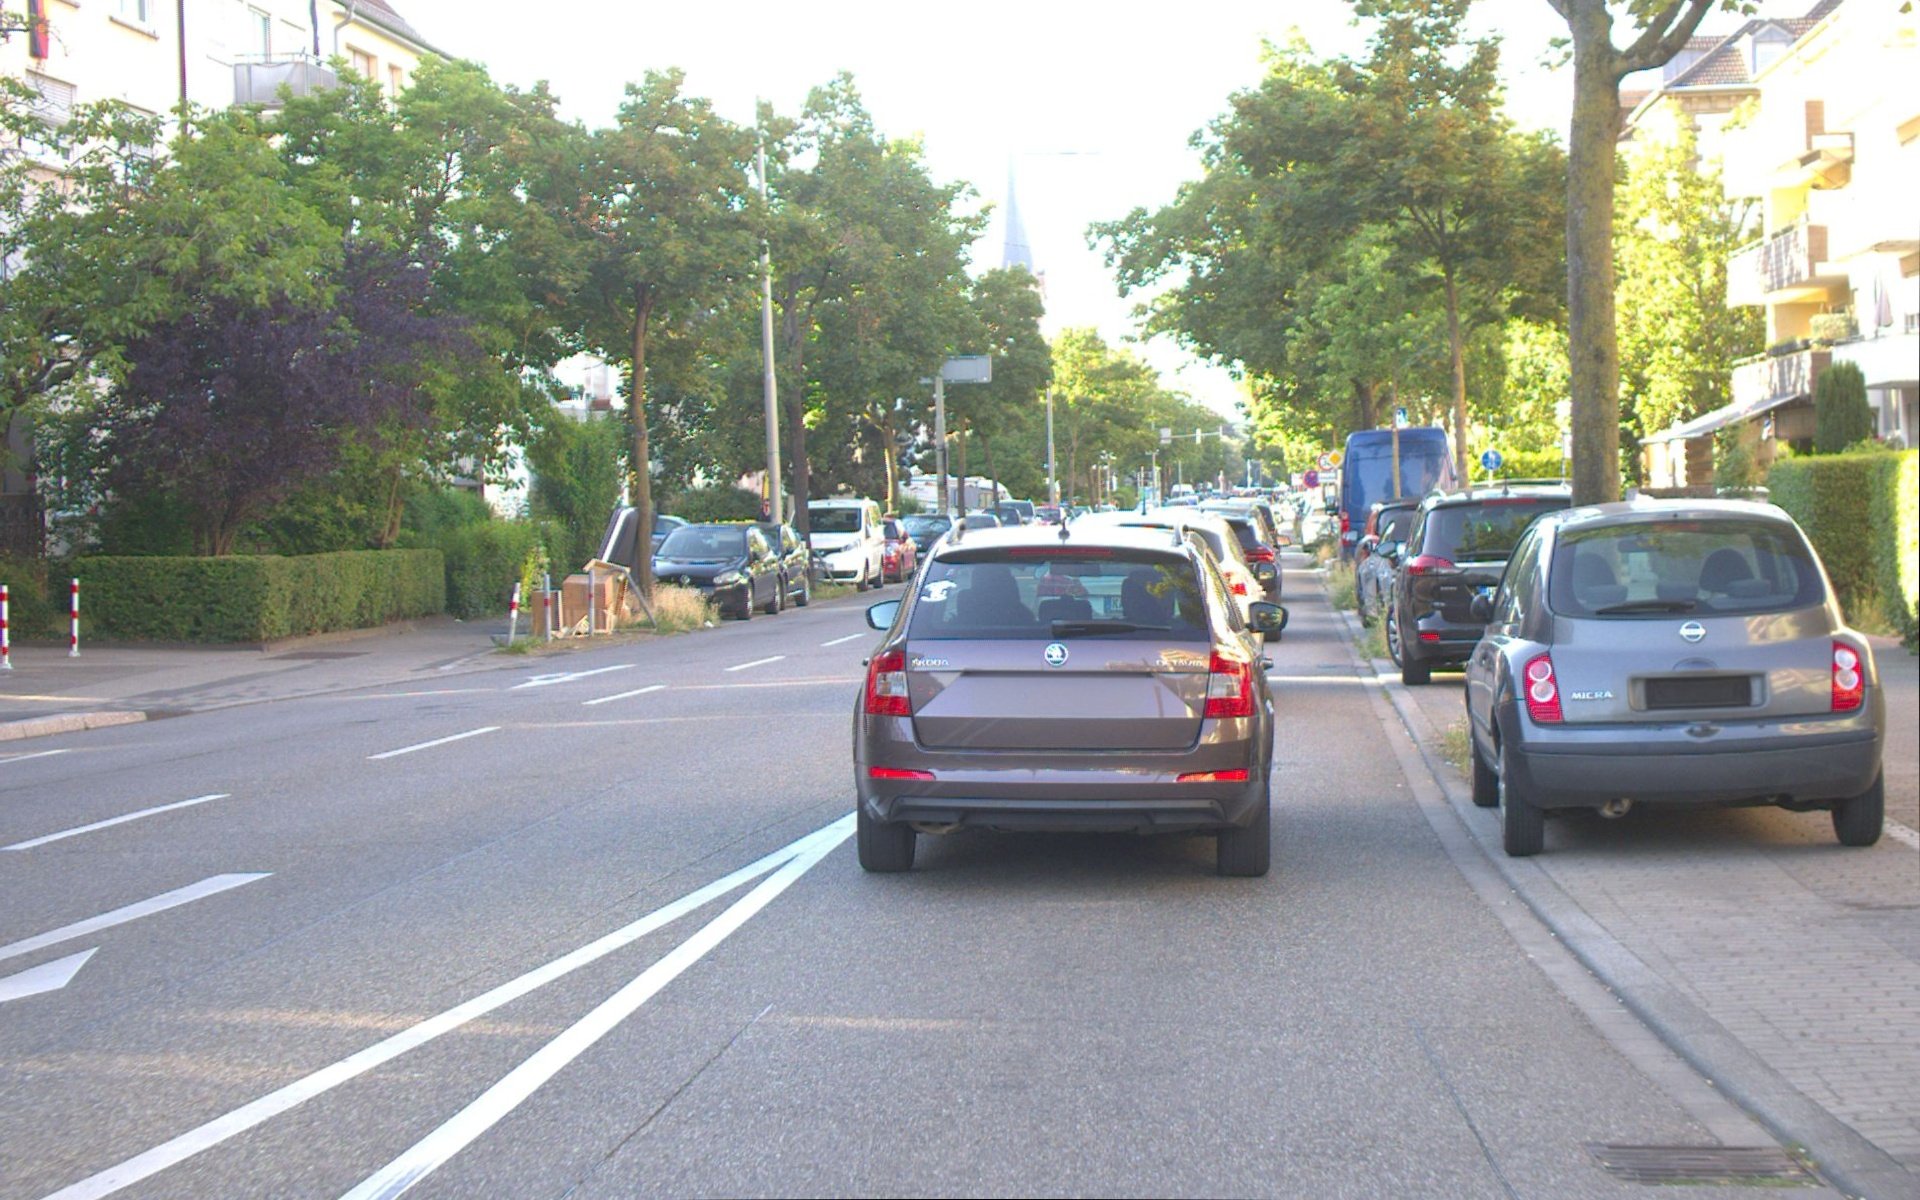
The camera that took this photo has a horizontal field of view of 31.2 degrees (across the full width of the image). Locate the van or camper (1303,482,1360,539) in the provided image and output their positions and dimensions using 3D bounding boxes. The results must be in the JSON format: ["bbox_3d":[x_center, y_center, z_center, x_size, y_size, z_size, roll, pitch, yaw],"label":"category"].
[{"bbox_3d":[13.599,-3.298,125.927,1.994,2.006,4.000,-1,2,5],"label":"van or camper"}]

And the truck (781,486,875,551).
[{"bbox_3d":[-4.411,-2.724,115.154,2.914,2.086,1.546,-1,2,5],"label":"truck"}]

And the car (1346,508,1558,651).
[{"bbox_3d":[5.680,-0.290,40.214,1.920,1.481,4.746,-1,2,2],"label":"car"}]

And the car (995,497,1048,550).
[{"bbox_3d":[2.109,-2.633,117.740,1.507,1.751,3.693,-1,2,5],"label":"car"}]

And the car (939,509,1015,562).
[{"bbox_3d":[0.511,-1.896,99.976,1.754,1.415,4.425,-1,2,6],"label":"car"}]

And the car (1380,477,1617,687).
[{"bbox_3d":[4.600,-0.217,29.832,1.733,1.645,4.291,-1,2,5],"label":"car"}]

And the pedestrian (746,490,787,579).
[{"bbox_3d":[-4.471,-1.523,79.642,0.767,2.006,0.976,-1,2,5],"label":"pedestrian"}]

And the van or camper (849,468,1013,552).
[{"bbox_3d":[-1.358,-4.315,164.814,7.641,3.861,2.000,-1,2,4],"label":"van or camper"}]

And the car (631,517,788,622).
[{"bbox_3d":[-3.895,-0.507,54.082,1.750,1.497,4.196,-1,2,5],"label":"car"}]

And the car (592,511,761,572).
[{"bbox_3d":[-7.087,-1.483,86.221,3.987,1.474,2.000,0,2,2],"label":"car"}]

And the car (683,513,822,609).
[{"bbox_3d":[-3.524,-0.697,59.011,1.750,1.497,3.978,-1,2,5],"label":"car"}]

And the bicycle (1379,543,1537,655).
[{"bbox_3d":[4.929,-0.015,34.030,1.476,1.055,0.412,-2,2,-7],"label":"bicycle"}]

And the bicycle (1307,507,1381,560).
[{"bbox_3d":[9.660,-1.673,86.499,1.672,1.222,0.635,-3,1,18],"label":"bicycle"}]

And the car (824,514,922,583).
[{"bbox_3d":[-1.922,-1.160,76.591,1.717,1.416,3.786,-1,2,5],"label":"car"}]

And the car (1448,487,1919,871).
[{"bbox_3d":[3.268,0.276,16.132,1.733,1.545,3.646,-1,2,5],"label":"car"}]

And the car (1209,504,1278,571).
[{"bbox_3d":[7.434,-1.642,89.809,1.733,1.645,3.541,-1,2,5],"label":"car"}]

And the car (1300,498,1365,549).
[{"bbox_3d":[11.070,-2.289,102.080,1.821,1.408,4.110,-1,2,7],"label":"car"}]

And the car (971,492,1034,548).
[{"bbox_3d":[1.407,-2.642,113.118,1.750,1.734,3.590,-1,2,5],"label":"car"}]

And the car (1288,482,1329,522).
[{"bbox_3d":[16.367,-4.623,161.592,1.730,1.809,3.951,-1,2,4],"label":"car"}]

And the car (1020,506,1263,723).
[{"bbox_3d":[1.366,0.053,26.827,1.729,1.488,3.951,-1,2,2],"label":"car"}]

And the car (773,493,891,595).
[{"bbox_3d":[-2.552,-1.164,69.388,1.770,1.912,4.459,-1,2,5],"label":"car"}]

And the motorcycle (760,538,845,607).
[{"bbox_3d":[-2.855,-0.507,62.517,0.441,1.188,1.703,0,3,43],"label":"motorcycle"}]

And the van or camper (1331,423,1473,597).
[{"bbox_3d":[7.223,-1.470,56.696,2.068,2.666,5.989,-1,1,5],"label":"van or camper"}]

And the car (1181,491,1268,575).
[{"bbox_3d":[5.532,-1.409,71.673,1.733,1.645,3.541,-1,2,5],"label":"car"}]

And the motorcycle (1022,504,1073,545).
[{"bbox_3d":[3.247,-2.817,128.036,0.764,1.506,2.030,-3,2,-37],"label":"motorcycle"}]

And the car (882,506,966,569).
[{"bbox_3d":[-0.902,-1.622,88.596,1.717,1.492,4.247,-1,2,5],"label":"car"}]

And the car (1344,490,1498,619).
[{"bbox_3d":[6.181,-0.632,46.417,1.773,1.636,3.757,-1,1,4],"label":"car"}]

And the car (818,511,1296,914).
[{"bbox_3d":[0.561,0.393,15.281,1.730,1.488,3.950,-1,2,7],"label":"car"}]

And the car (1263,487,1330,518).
[{"bbox_3d":[19.875,-5.773,203.071,1.881,1.751,4.169,0,3,41],"label":"car"}]
